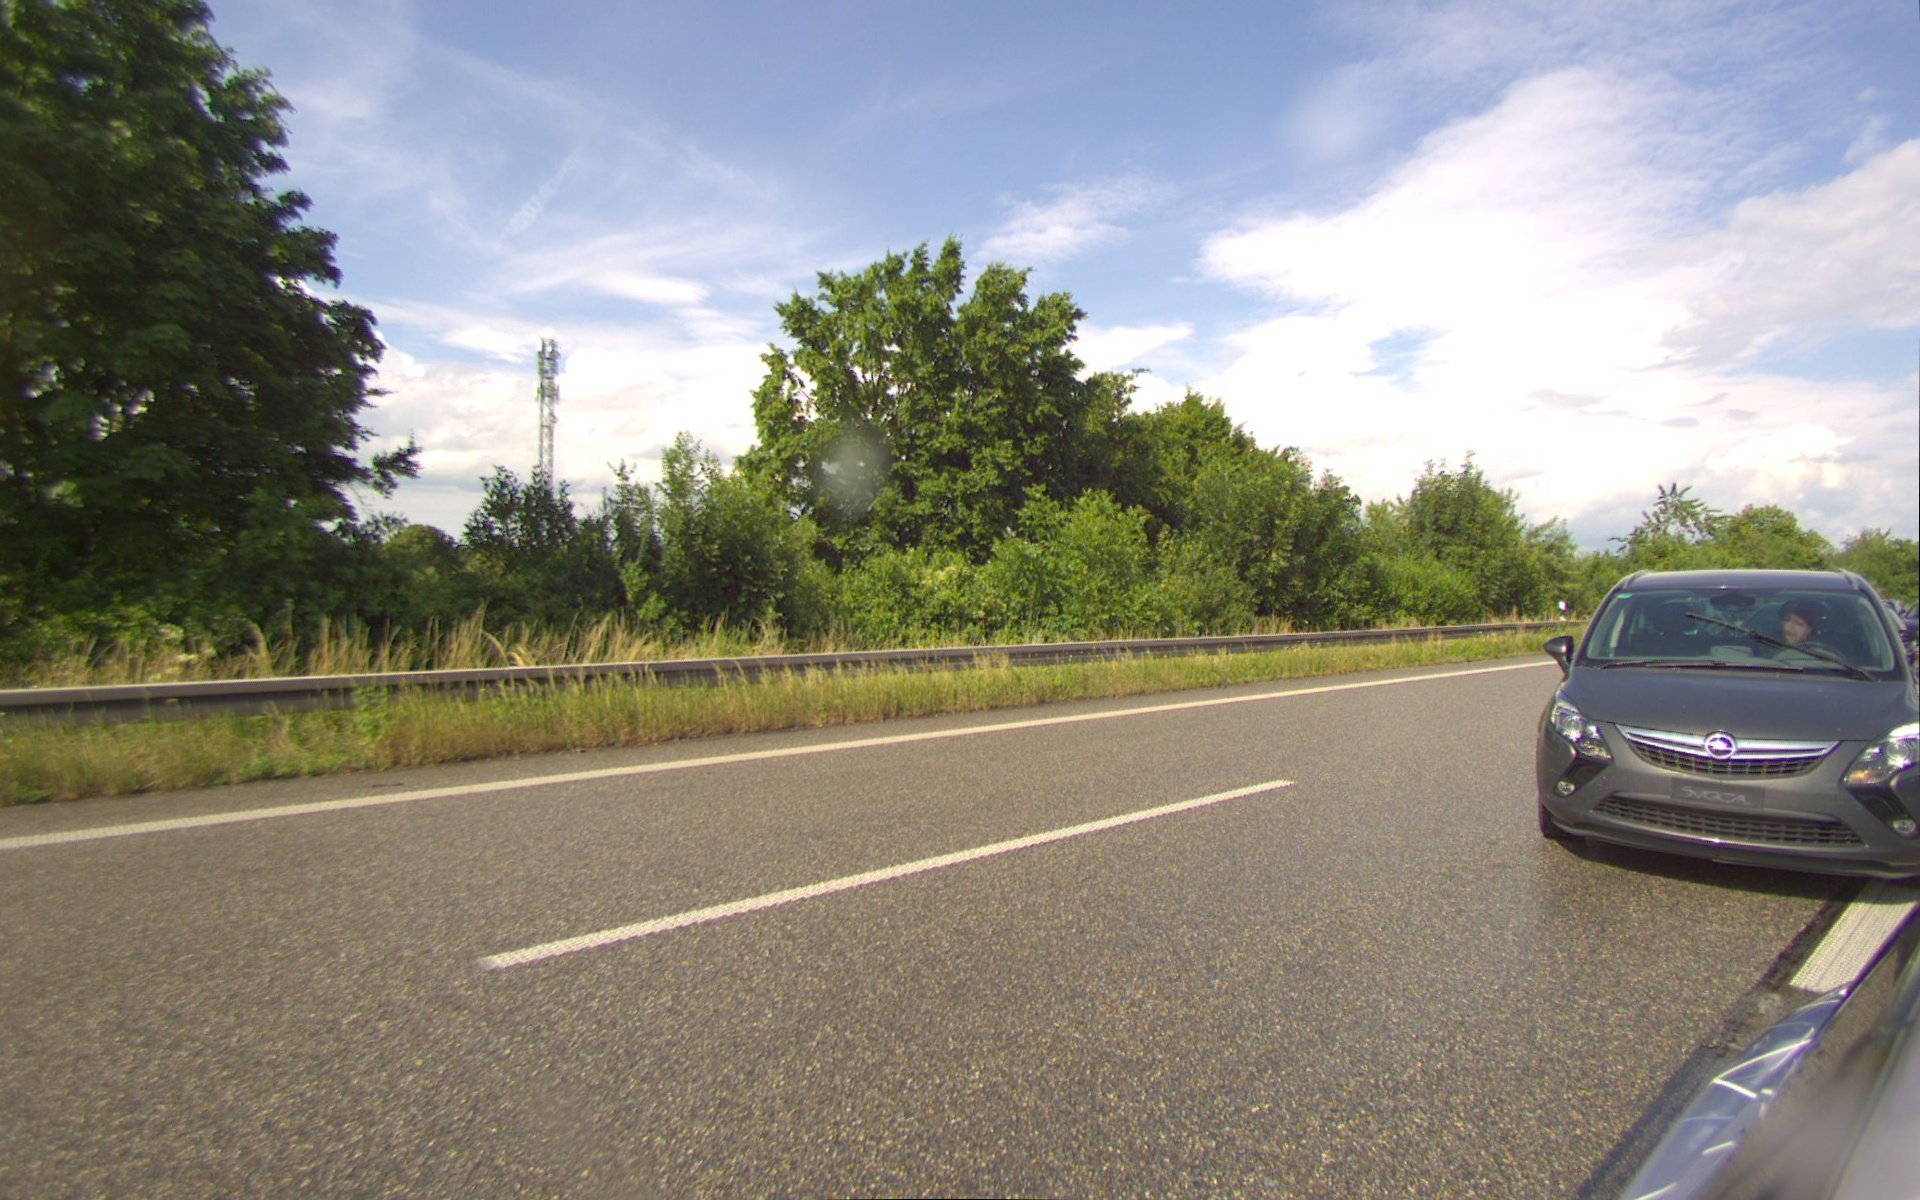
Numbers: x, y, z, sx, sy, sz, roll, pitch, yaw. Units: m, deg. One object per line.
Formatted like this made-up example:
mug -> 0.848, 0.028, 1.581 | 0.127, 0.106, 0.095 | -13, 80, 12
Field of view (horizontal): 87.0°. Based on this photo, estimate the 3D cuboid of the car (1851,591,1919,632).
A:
car -> 34.190, 0.374, 37.051 | 4.500, 1.368, 1.770 | -1, 1, -41

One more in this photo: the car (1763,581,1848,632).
car -> 26.473, 0.176, 31.657 | 3.422, 1.507, 1.614 | -1, 1, -42

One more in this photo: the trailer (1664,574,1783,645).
trailer -> 20.554, 0.219, 27.209 | 3.899, 1.768, 1.808 | -1, 0, -41

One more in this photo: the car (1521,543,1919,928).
car -> 5.154, 0.557, 6.522 | 1.851, 1.652, 4.667 | 1, 1, 40

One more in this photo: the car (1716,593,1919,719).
car -> 11.276, 0.610, 13.025 | 3.816, 1.371, 1.721 | 0, 0, -41

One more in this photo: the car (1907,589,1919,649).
car -> 24.052, 0.435, 24.325 | 3.935, 1.382, 1.740 | 0, 1, -45

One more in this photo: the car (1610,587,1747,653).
car -> 17.445, 0.412, 24.499 | 4.328, 1.449, 1.746 | -1, 1, -41
